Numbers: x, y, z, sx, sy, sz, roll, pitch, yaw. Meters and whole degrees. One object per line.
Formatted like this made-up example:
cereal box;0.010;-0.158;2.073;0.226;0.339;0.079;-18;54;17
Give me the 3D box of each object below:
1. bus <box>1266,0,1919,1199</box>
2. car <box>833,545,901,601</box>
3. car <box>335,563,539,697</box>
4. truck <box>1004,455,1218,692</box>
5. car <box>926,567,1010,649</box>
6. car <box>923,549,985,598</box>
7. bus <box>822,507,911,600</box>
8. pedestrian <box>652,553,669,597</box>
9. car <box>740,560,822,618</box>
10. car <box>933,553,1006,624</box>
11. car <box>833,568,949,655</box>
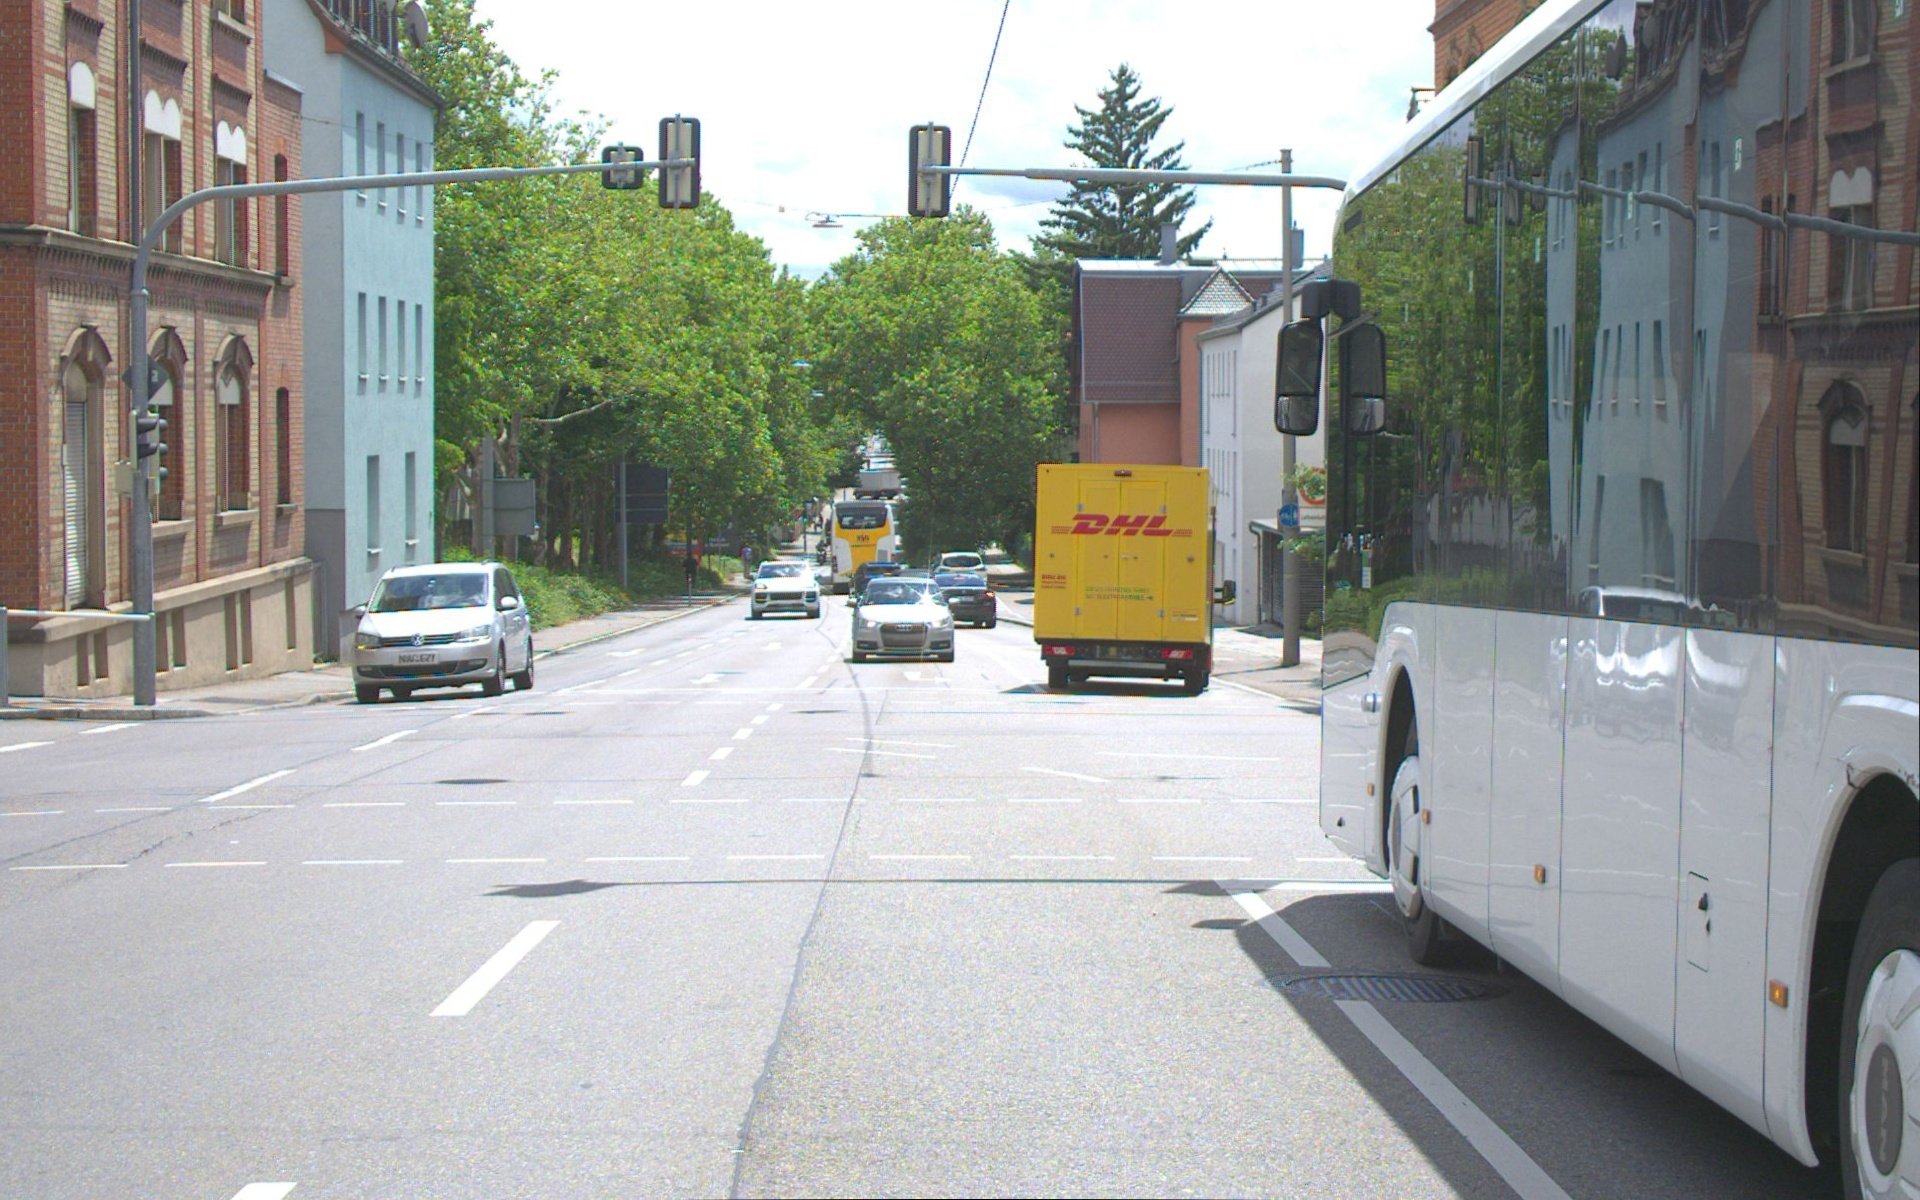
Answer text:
bus;2.928;-0.413;9.258;2.904;3.498;12.488;1;1;-1
car;-3.129;-0.922;114.956;2.091;1.824;4.143;0;1;-4
car;-6.529;0.336;43.334;1.935;1.558;4.389;-1;1;-1
truck;2.110;-0.358;45.874;2.541;2.903;6.571;1;1;5
car;0.185;0.180;88.906;1.993;2.007;4.001;-1;1;-2
car;-0.249;-1.013;129.625;2.091;1.824;4.143;0;1;-4
bus;-3.883;-1.902;140.323;3.300;3.618;11.246;-1;1;-3
pedestrian;-11.884;-1.002;136.542;0.606;1.752;0.654;-1;1;-2
car;-5.226;-0.345;101.045;2.207;1.607;4.547;-1;1;-1
car;0.229;-0.320;88.771;1.819;1.778;4.000;-1;1;-1
car;-1.148;0.165;58.209;1.865;1.363;4.547;-1;1;-1
